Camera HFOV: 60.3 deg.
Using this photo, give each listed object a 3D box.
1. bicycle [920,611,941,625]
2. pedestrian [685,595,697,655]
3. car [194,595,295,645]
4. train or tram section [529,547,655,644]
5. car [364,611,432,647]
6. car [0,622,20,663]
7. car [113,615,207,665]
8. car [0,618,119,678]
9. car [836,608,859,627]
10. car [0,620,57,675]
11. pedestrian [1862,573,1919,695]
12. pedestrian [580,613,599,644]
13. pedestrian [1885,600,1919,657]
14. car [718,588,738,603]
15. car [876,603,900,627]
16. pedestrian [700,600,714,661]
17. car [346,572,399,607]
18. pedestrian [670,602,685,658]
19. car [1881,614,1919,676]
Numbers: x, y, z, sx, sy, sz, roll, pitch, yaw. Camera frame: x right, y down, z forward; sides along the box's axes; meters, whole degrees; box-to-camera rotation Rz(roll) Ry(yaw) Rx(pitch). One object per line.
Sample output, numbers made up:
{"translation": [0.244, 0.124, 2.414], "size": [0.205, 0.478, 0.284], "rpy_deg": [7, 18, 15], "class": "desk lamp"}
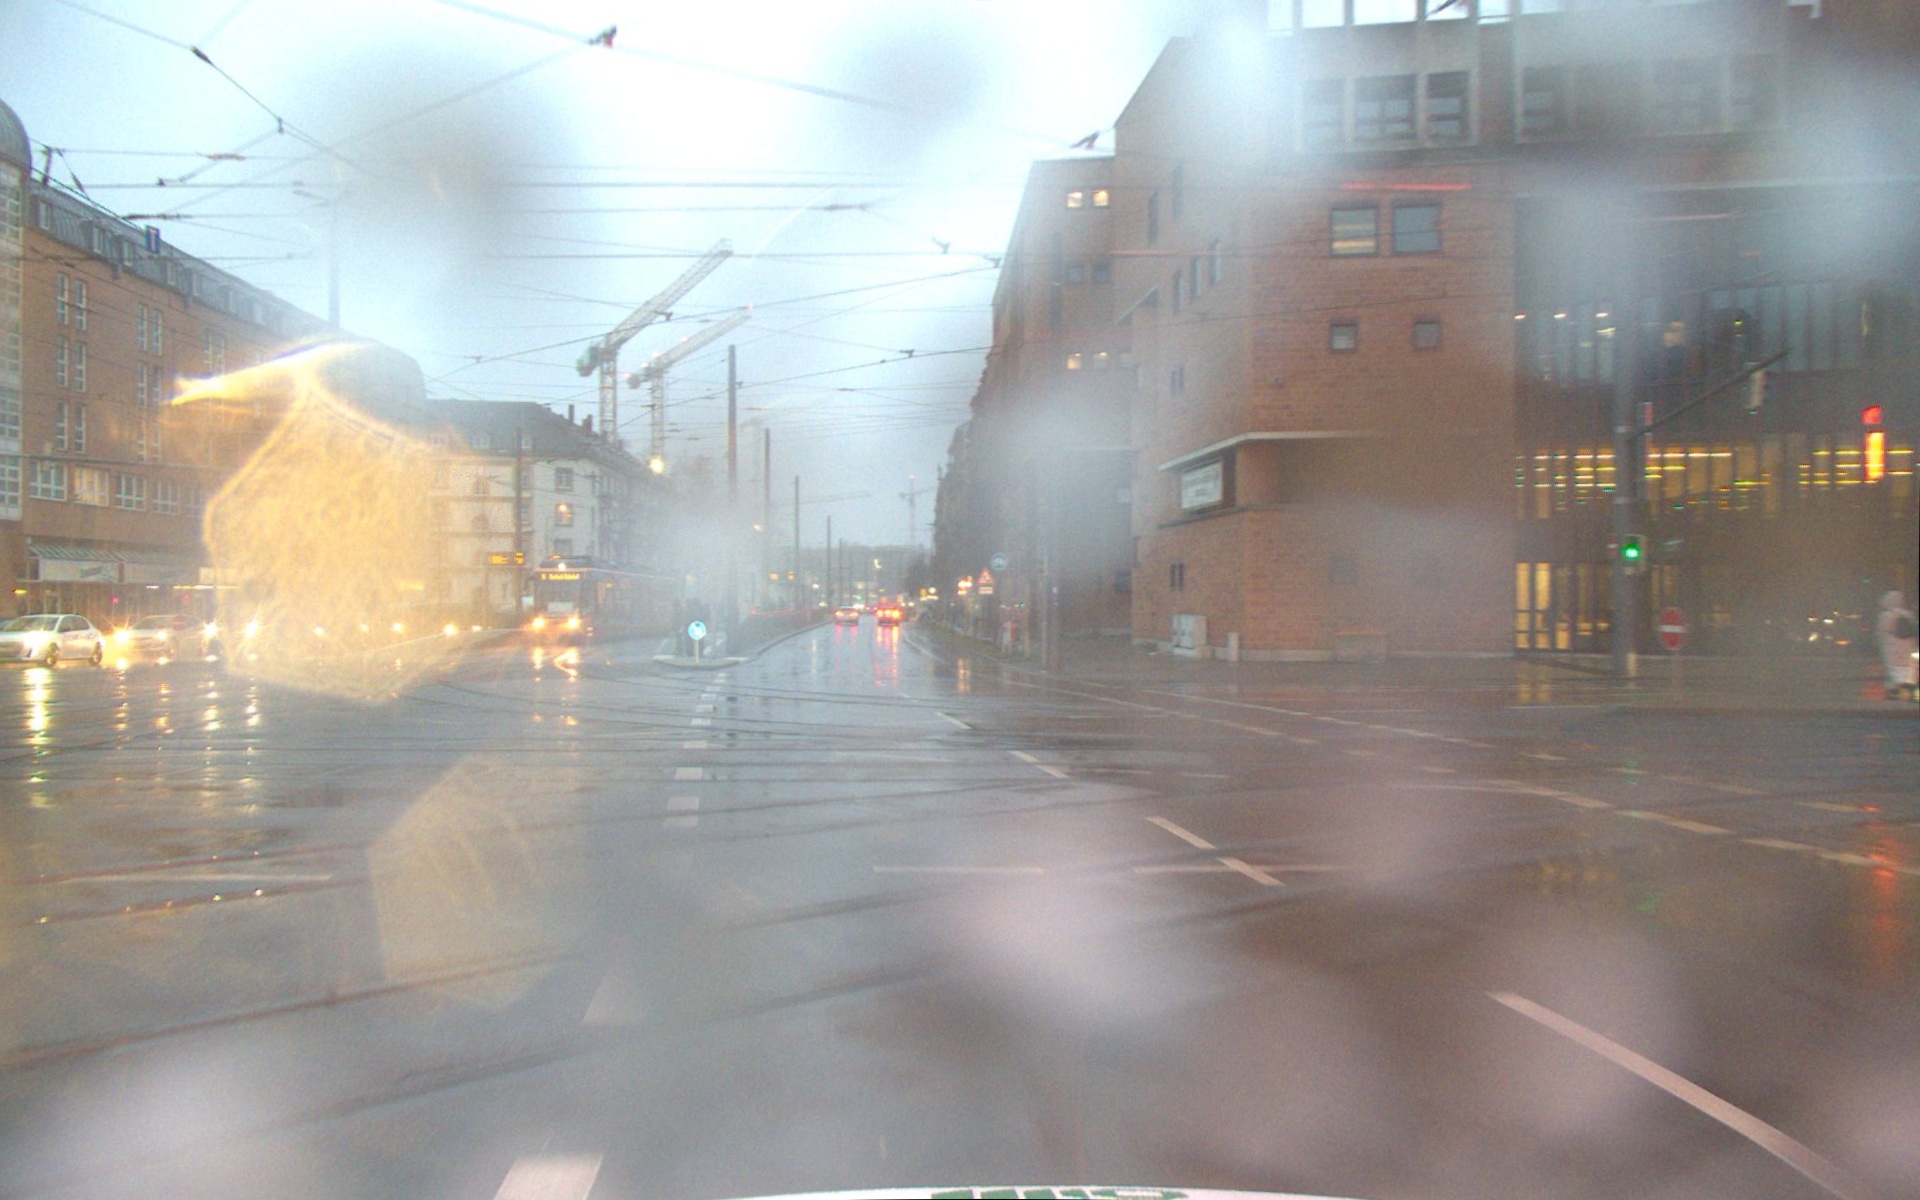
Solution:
{"translation": [-2.432, 1.480, 136.861], "size": [1.695, 1.073, 0.371], "rpy_deg": [-1, 0, -4], "class": "bicycle"}
{"translation": [-8.189, 0.748, 50.355], "size": [0.353, 1.818, 0.439], "rpy_deg": [0, -1, -8], "class": "pedestrian"}
{"translation": [-25.961, 0.704, 60.184], "size": [1.792, 1.739, 4.702], "rpy_deg": [0, 0, -3], "class": "car"}
{"translation": [-15.349, -0.145, 70.010], "size": [2.891, 3.652, 12.249], "rpy_deg": [2, 0, -2], "class": "train or tram section"}
{"translation": [-22.447, 1.156, 66.180], "size": [1.648, 1.378, 3.543], "rpy_deg": [1, -1, -3], "class": "car"}
{"translation": [-32.505, 1.416, 53.777], "size": [1.579, 1.344, 4.227], "rpy_deg": [0, 0, -2], "class": "car"}
{"translation": [-28.773, 1.414, 59.590], "size": [1.650, 1.739, 3.853], "rpy_deg": [0, 0, -3], "class": "car"}
{"translation": [-25.054, 1.287, 45.632], "size": [1.634, 1.521, 4.199], "rpy_deg": [0, 0, -1], "class": "car"}
{"translation": [-9.222, 1.408, 136.005], "size": [1.748, 1.492, 3.148], "rpy_deg": [0, 0, -1], "class": "car"}
{"translation": [-27.947, 1.367, 48.037], "size": [1.550, 1.521, 3.594], "rpy_deg": [0, 0, -1], "class": "car"}
{"translation": [14.317, 0.508, 25.202], "size": [0.719, 1.818, 0.734], "rpy_deg": [0, 0, -6], "class": "pedestrian"}
{"translation": [-14.051, 1.074, 62.685], "size": [0.568, 1.173, 0.490], "rpy_deg": [2, -1, -1], "class": "pedestrian"}
{"translation": [23.839, 0.713, 41.758], "size": [0.721, 1.413, 0.737], "rpy_deg": [0, 0, 19], "class": "pedestrian"}
{"translation": [-22.890, -0.440, 163.323], "size": [1.648, 1.378, 3.543], "rpy_deg": [1, -1, -3], "class": "car"}
{"translation": [-6.177, 1.262, 141.763], "size": [1.953, 2.049, 3.999], "rpy_deg": [0, 0, -1], "class": "car"}
{"translation": [-7.770, 0.928, 50.837], "size": [0.404, 1.878, 0.668], "rpy_deg": [0, -1, -7], "class": "pedestrian"}
{"translation": [-36.324, -0.630, 102.317], "size": [1.954, 2.049, 3.998], "rpy_deg": [2, 0, -3], "class": "car"}
{"translation": [-8.901, 0.935, 52.045], "size": [0.425, 1.766, 0.472], "rpy_deg": [0, -1, -8], "class": "pedestrian"}
{"translation": [22.675, 0.993, 36.346], "size": [3.900, 1.333, 1.814], "rpy_deg": [0, 0, -1], "class": "car"}
